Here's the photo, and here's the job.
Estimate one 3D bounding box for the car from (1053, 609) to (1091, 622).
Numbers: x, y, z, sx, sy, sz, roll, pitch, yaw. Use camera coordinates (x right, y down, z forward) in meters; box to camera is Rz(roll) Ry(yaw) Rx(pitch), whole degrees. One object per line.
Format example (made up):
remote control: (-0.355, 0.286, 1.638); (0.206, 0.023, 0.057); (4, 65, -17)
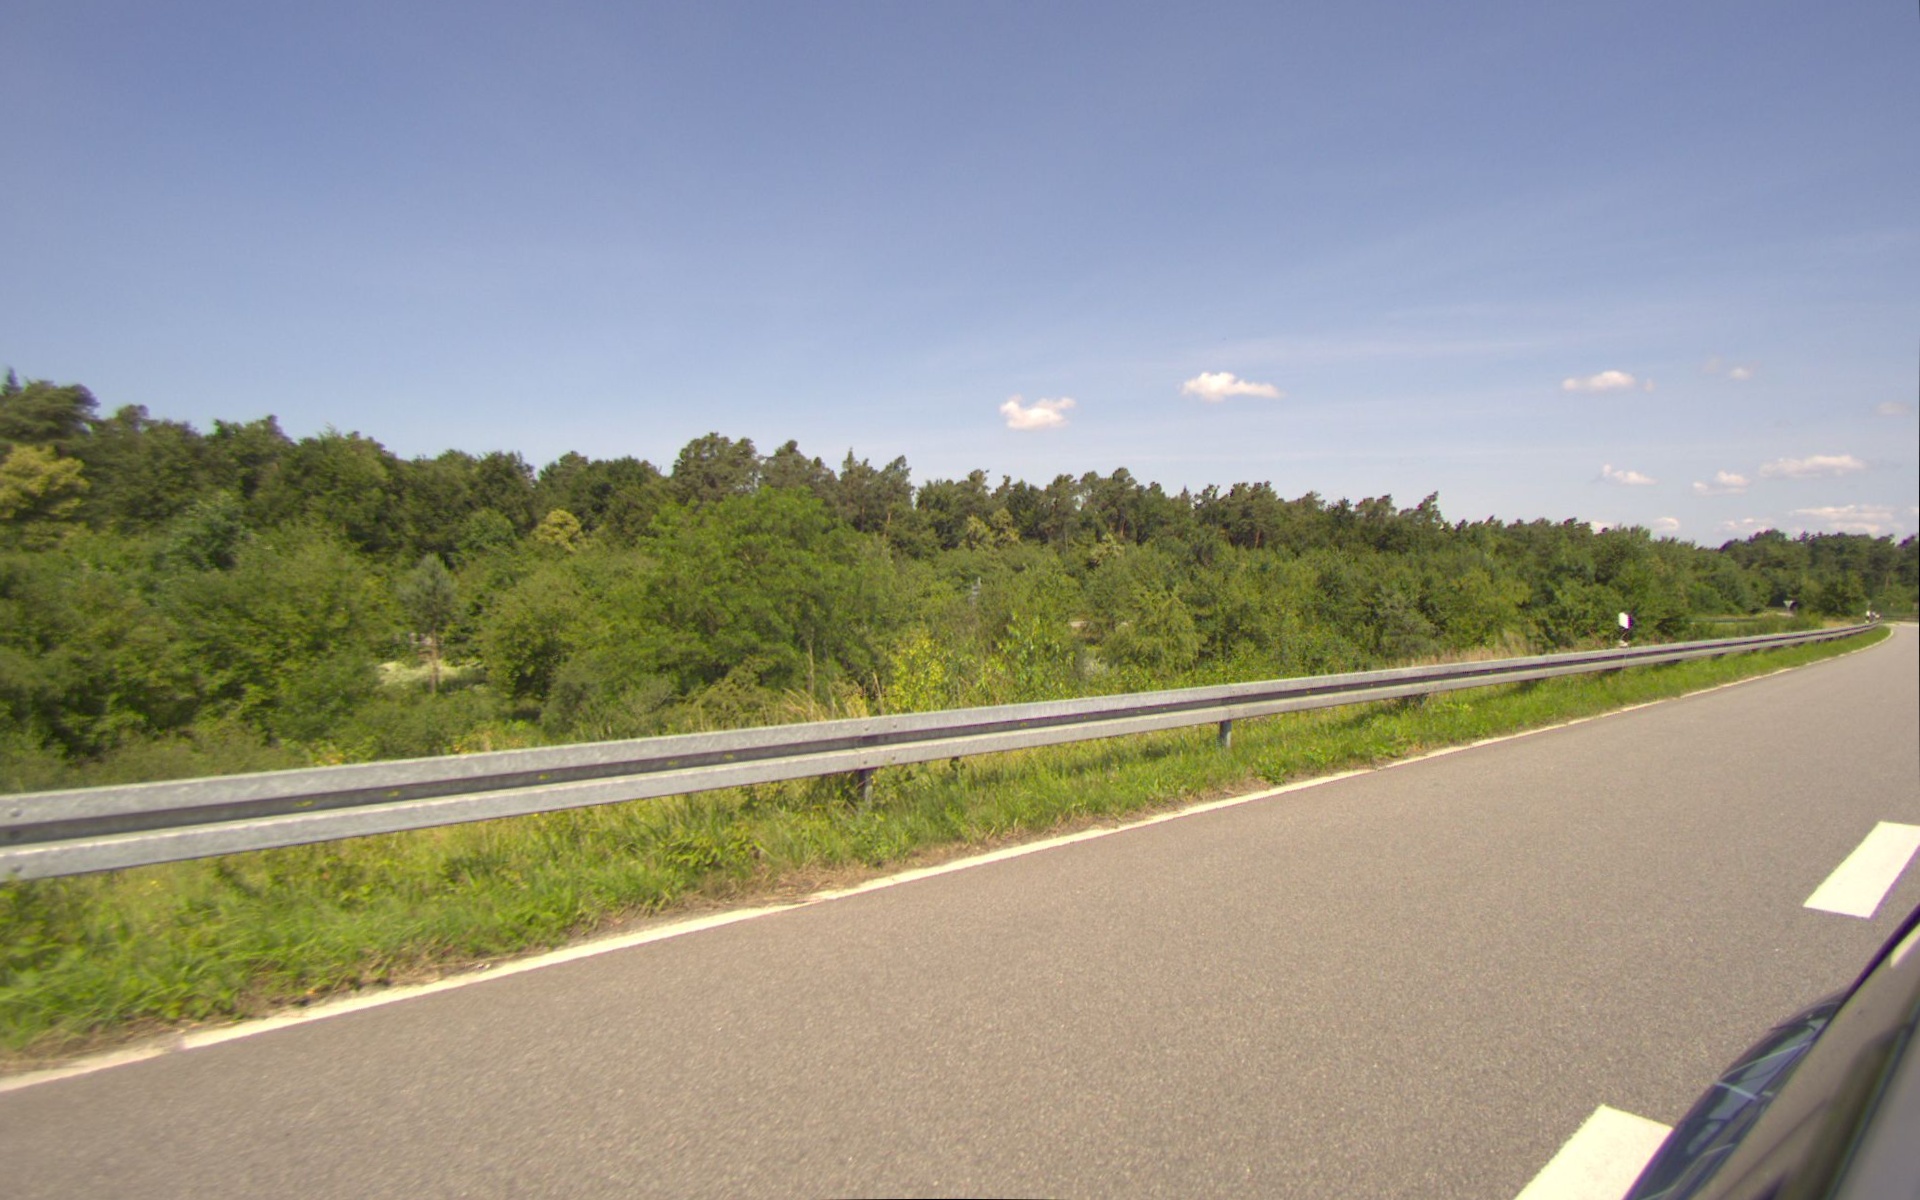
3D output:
car: (14.639, 2.036, 132.643); (4.571, 1.687, 1.902); (-1, -1, -6)
